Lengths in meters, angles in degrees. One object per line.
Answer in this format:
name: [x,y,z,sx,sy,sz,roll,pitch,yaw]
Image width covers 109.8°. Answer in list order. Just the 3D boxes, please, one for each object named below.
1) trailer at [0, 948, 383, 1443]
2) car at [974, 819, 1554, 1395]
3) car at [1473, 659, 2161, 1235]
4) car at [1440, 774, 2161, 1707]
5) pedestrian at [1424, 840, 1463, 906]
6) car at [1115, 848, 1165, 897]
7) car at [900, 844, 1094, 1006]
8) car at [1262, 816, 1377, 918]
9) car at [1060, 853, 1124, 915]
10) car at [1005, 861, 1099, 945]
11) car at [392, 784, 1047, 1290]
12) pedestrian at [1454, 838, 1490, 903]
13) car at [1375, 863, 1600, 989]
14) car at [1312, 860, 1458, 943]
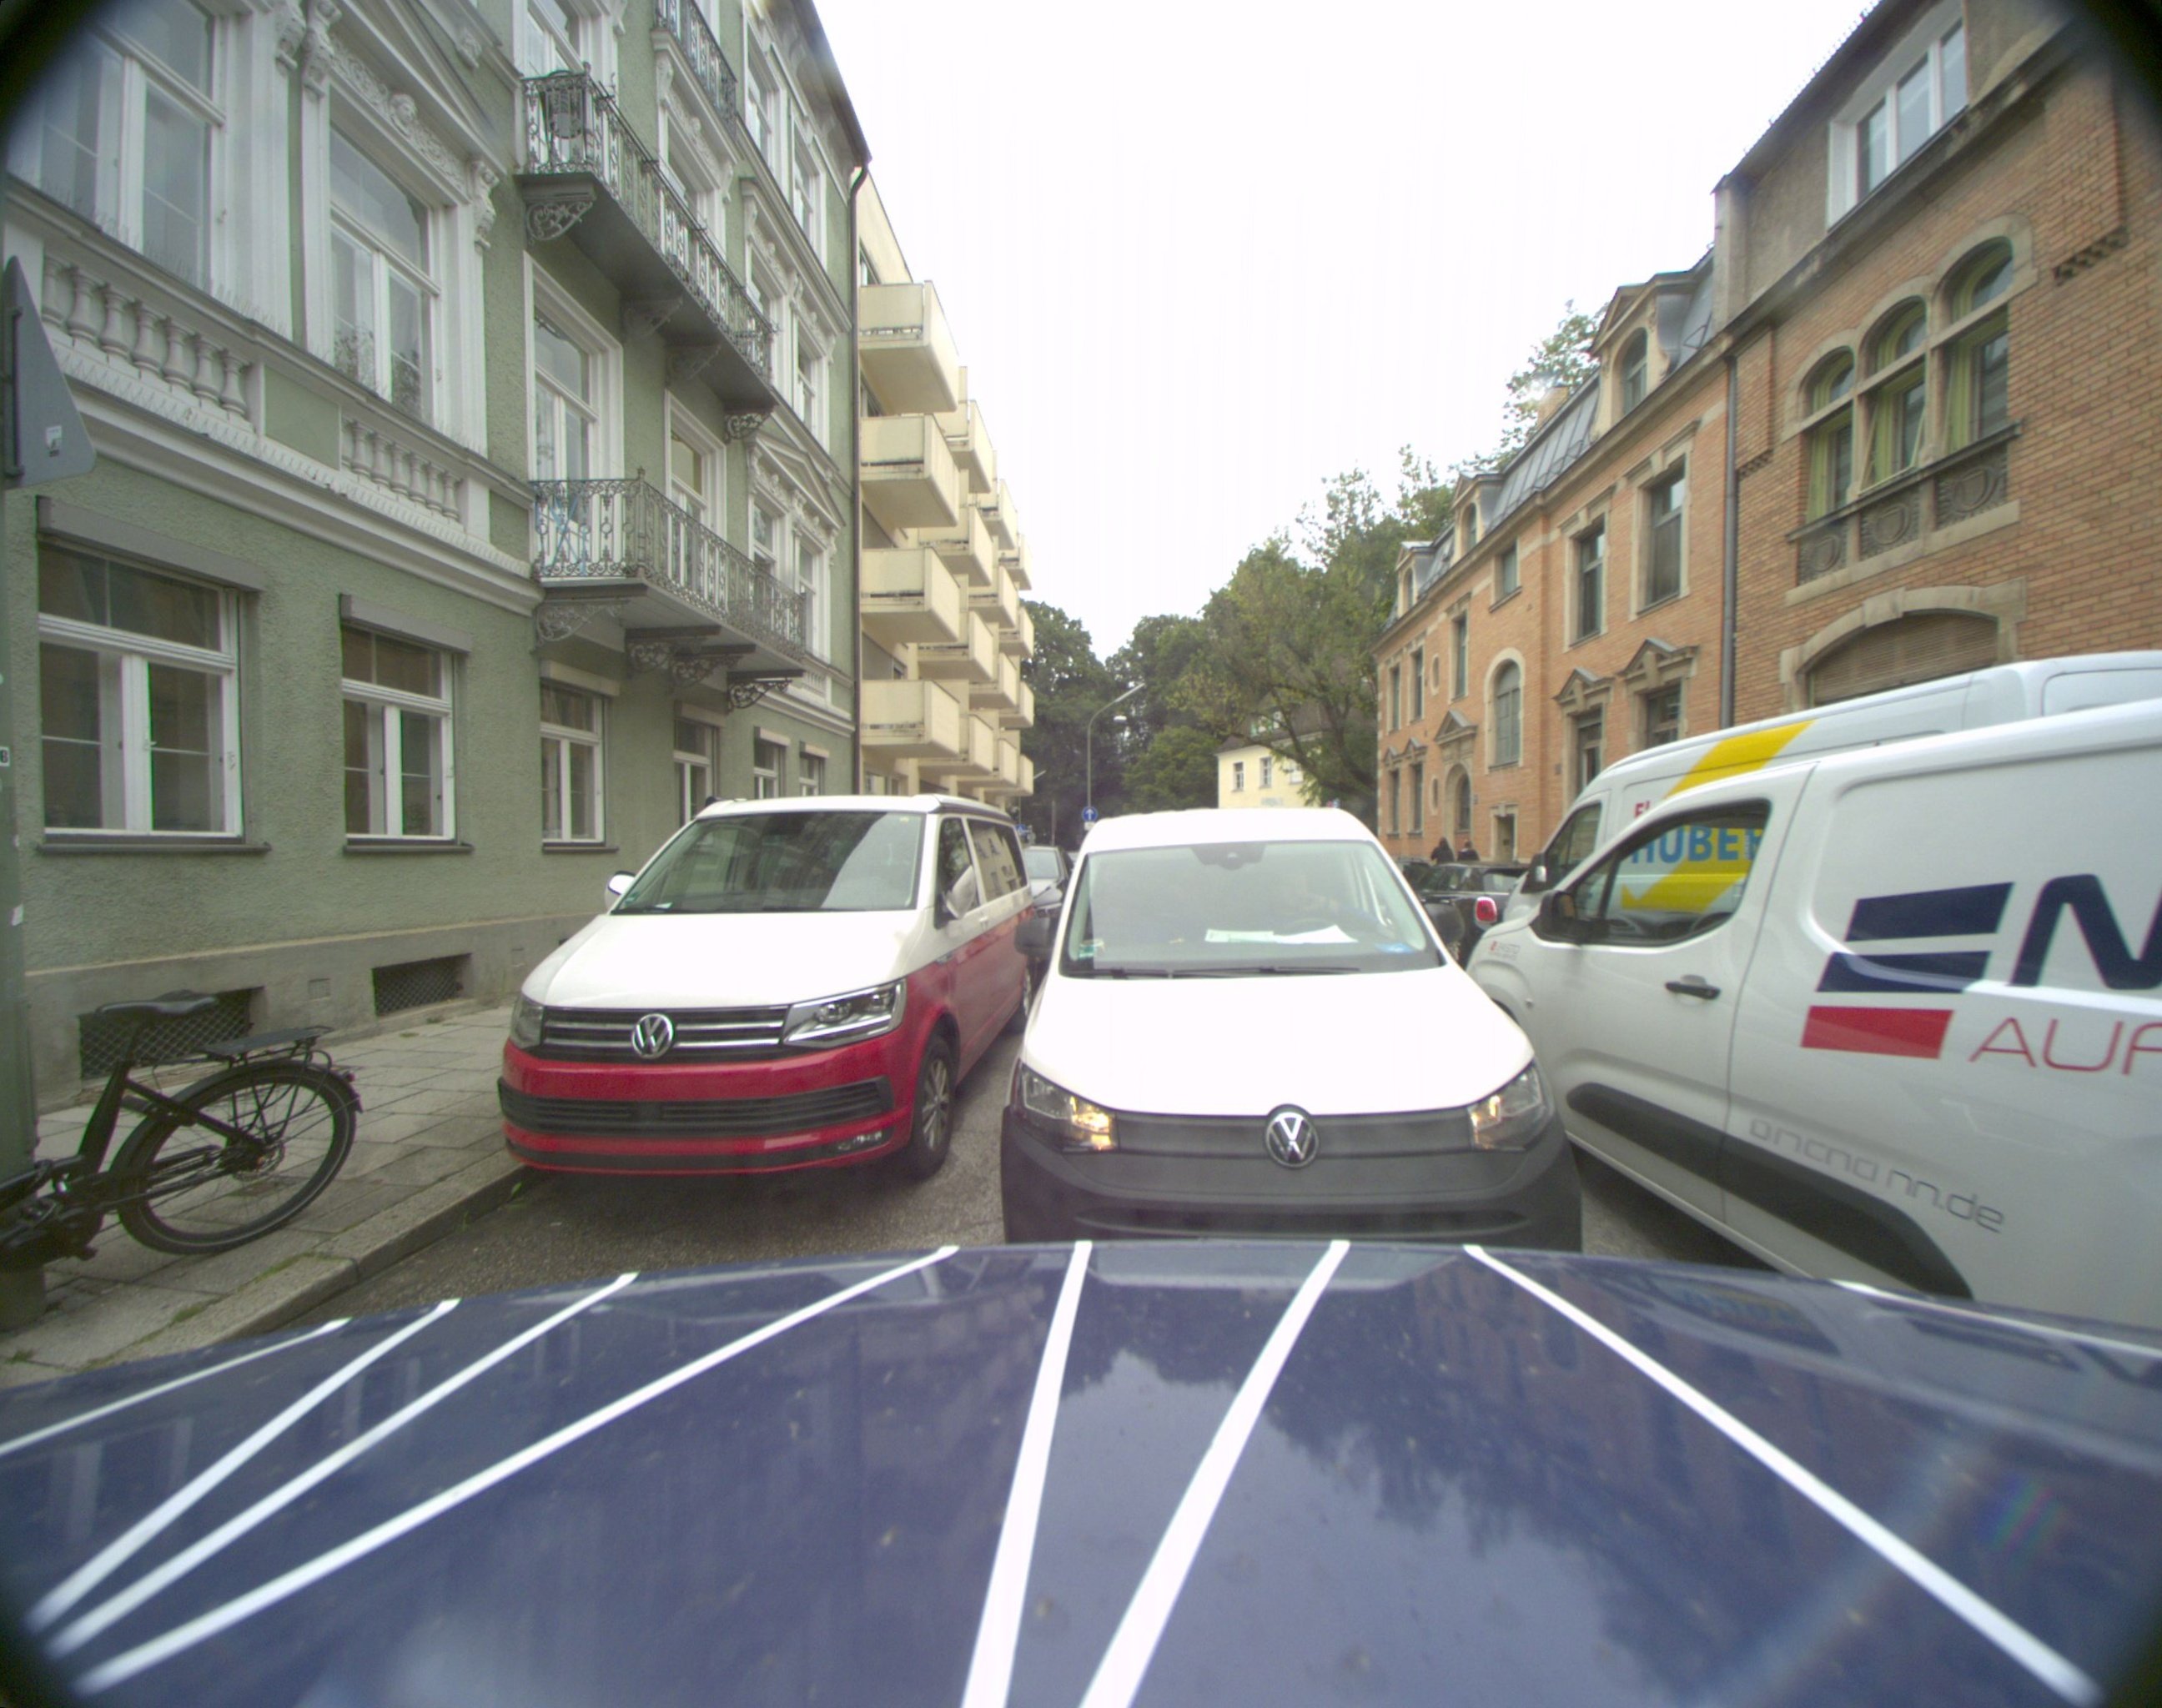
trailer: [-3.432,1.012,2.026,0.943,1.177,2.165,3,1,9]
car: [0.744,0.768,4.381,1.775,1.761,4.001,-1,1,6]
car: [5.211,0.388,5.822,1.986,2.464,5.224,1,1,4]
car: [2.808,0.741,2.076,1.775,1.793,4.573,-1,1,4]
pedestrian: [9.197,0.463,19.280,0.633,1.623,0.675,2,1,5]
car: [2.240,0.640,29.366,1.765,1.740,4.001,1,1,4]
car: [-0.892,0.796,10.679,1.831,1.747,4.555,-2,0,4]
car: [6.633,0.331,21.672,2.117,2.525,4.423,3,0,5]
car: [0.408,0.802,22.185,1.550,1.562,3.979,-2,0,4]
car: [-0.510,0.961,16.507,1.550,1.488,3.979,-2,0,4]
car: [-1.516,0.711,5.191,1.857,1.885,4.593,-2,0,6]
pedestrian: [9.890,0.407,19.228,0.633,1.623,0.467,2,1,5]
car: [5.602,0.891,10.979,1.526,1.434,3.542,2,0,4]
car: [6.182,0.885,15.952,1.693,1.434,3.985,2,0,4]
